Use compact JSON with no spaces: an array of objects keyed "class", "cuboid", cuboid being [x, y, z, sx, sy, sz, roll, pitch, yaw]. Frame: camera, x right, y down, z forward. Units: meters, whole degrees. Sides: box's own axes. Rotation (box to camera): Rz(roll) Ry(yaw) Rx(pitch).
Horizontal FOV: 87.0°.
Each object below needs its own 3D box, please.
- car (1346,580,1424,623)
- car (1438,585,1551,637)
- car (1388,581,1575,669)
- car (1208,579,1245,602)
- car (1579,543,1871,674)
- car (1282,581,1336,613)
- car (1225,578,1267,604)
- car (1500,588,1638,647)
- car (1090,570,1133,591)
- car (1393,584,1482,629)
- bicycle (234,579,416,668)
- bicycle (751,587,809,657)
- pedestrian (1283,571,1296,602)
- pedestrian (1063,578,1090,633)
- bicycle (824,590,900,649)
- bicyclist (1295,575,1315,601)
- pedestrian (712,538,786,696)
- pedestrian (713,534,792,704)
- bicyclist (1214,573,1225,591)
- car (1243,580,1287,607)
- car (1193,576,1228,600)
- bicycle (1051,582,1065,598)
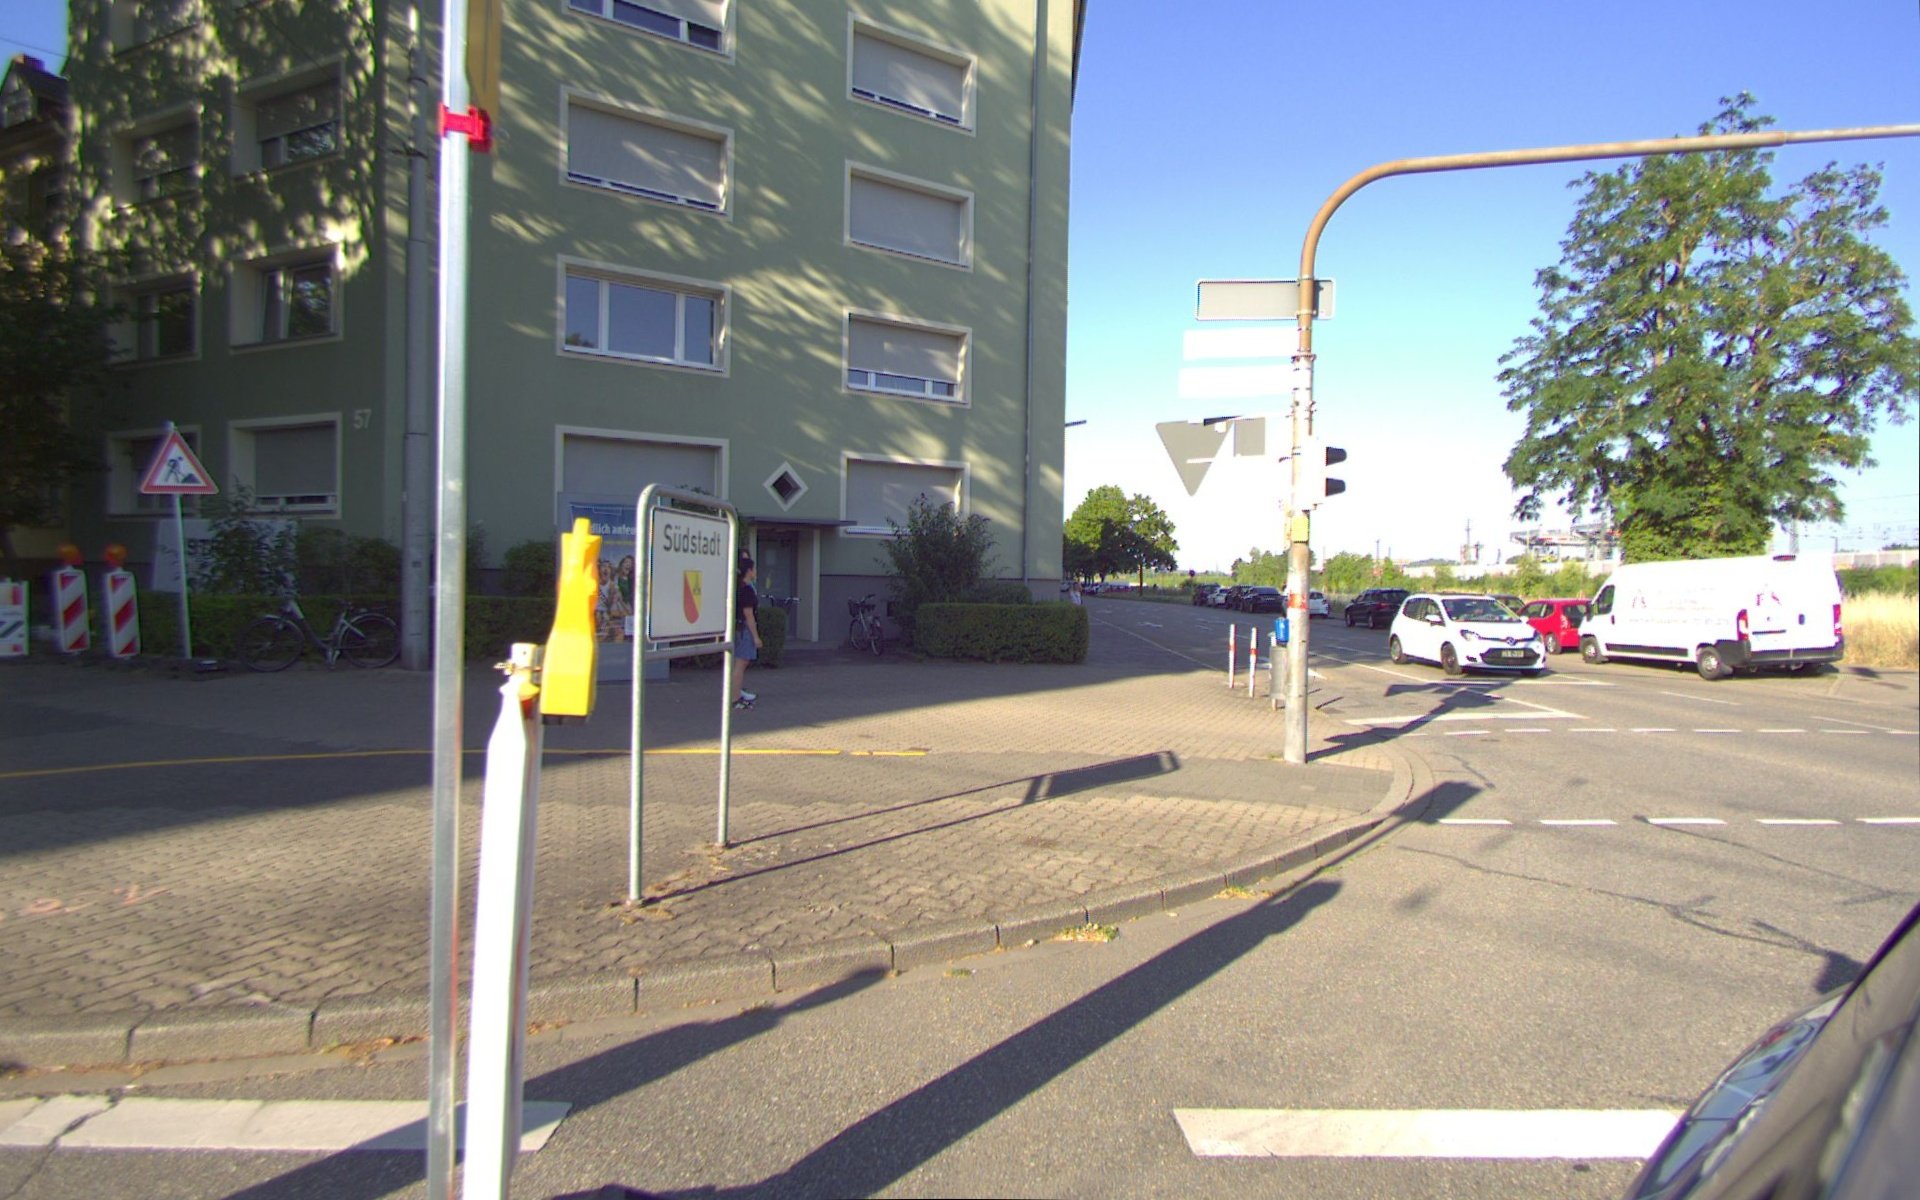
[{"class":"car","cuboid":[17.485,0.016,41.815,1.634,1.680,4.004,1,1,2]},{"class":"car","cuboid":[17.257,0.304,32.882,1.714,1.549,3.815,1,1,2]},{"class":"car","cuboid":[9.836,0.400,19.436,1.674,1.487,3.775,1,1,1]},{"class":"car","cuboid":[19.066,-0.690,72.504,1.792,1.594,4.216,1,1,4]},{"class":"car","cuboid":[16.474,0.102,22.326,2.194,2.466,5.561,-2,1,1]},{"class":"car","cuboid":[18.057,-0.174,52.514,1.676,1.545,3.580,1,1,3]},{"class":"car","cuboid":[18.904,-0.637,67.116,1.792,1.658,4.216,1,1,4]},{"class":"car","cuboid":[17.033,0.444,28.521,1.714,1.505,3.693,1,1,2]},{"class":"car","cuboid":[19.388,-2.525,129.674,5.229,2.442,2.265,-3,1,3]},{"class":"car","cuboid":[17.472,0.197,37.191,1.634,1.549,3.578,1,1,2]},{"class":"bicycle","cuboid":[-8.038,0.284,12.900,1.893,1.070,0.522,0,1,-22]},{"class":"bicycle","cuboid":[-3.042,0.338,16.983,0.510,1.070,1.938,0,1,-24]},{"class":"pedestrian","cuboid":[21.745,-0.892,66.723,0.604,2.039,0.730,1,1,1]},{"class":"pedestrian","cuboid":[3.793,0.161,32.999,0.773,1.728,0.949,2,2,3]},{"class":"bicycle","cuboid":[-1.880,0.347,19.247,0.634,1.015,1.849,0,2,-34]},{"class":"bicyclist","cuboid":[21.549,-0.773,63.277,0.851,1.616,1.146,1,1,1]},{"class":"pedestrian","cuboid":[-2.425,0.187,11.719,0.778,1.772,0.694,1,1,-8]},{"class":"pedestrian","cuboid":[-2.267,0.196,11.004,0.778,1.772,0.695,0,1,-16]},{"class":"bicyclist","cuboid":[23.034,-1.588,89.871,0.755,1.616,1.145,1,1,4]},{"class":"car","cuboid":[18.470,-0.417,61.433,1.794,1.545,4.282,1,1,6]},{"class":"car","cuboid":[19.378,-0.965,78.378,1.858,1.798,4.216,1,1,4]},{"class":"bicycle","cuboid":[7.240,-0.751,74.829,0.638,1.111,2.206,1,1,-6]}]
